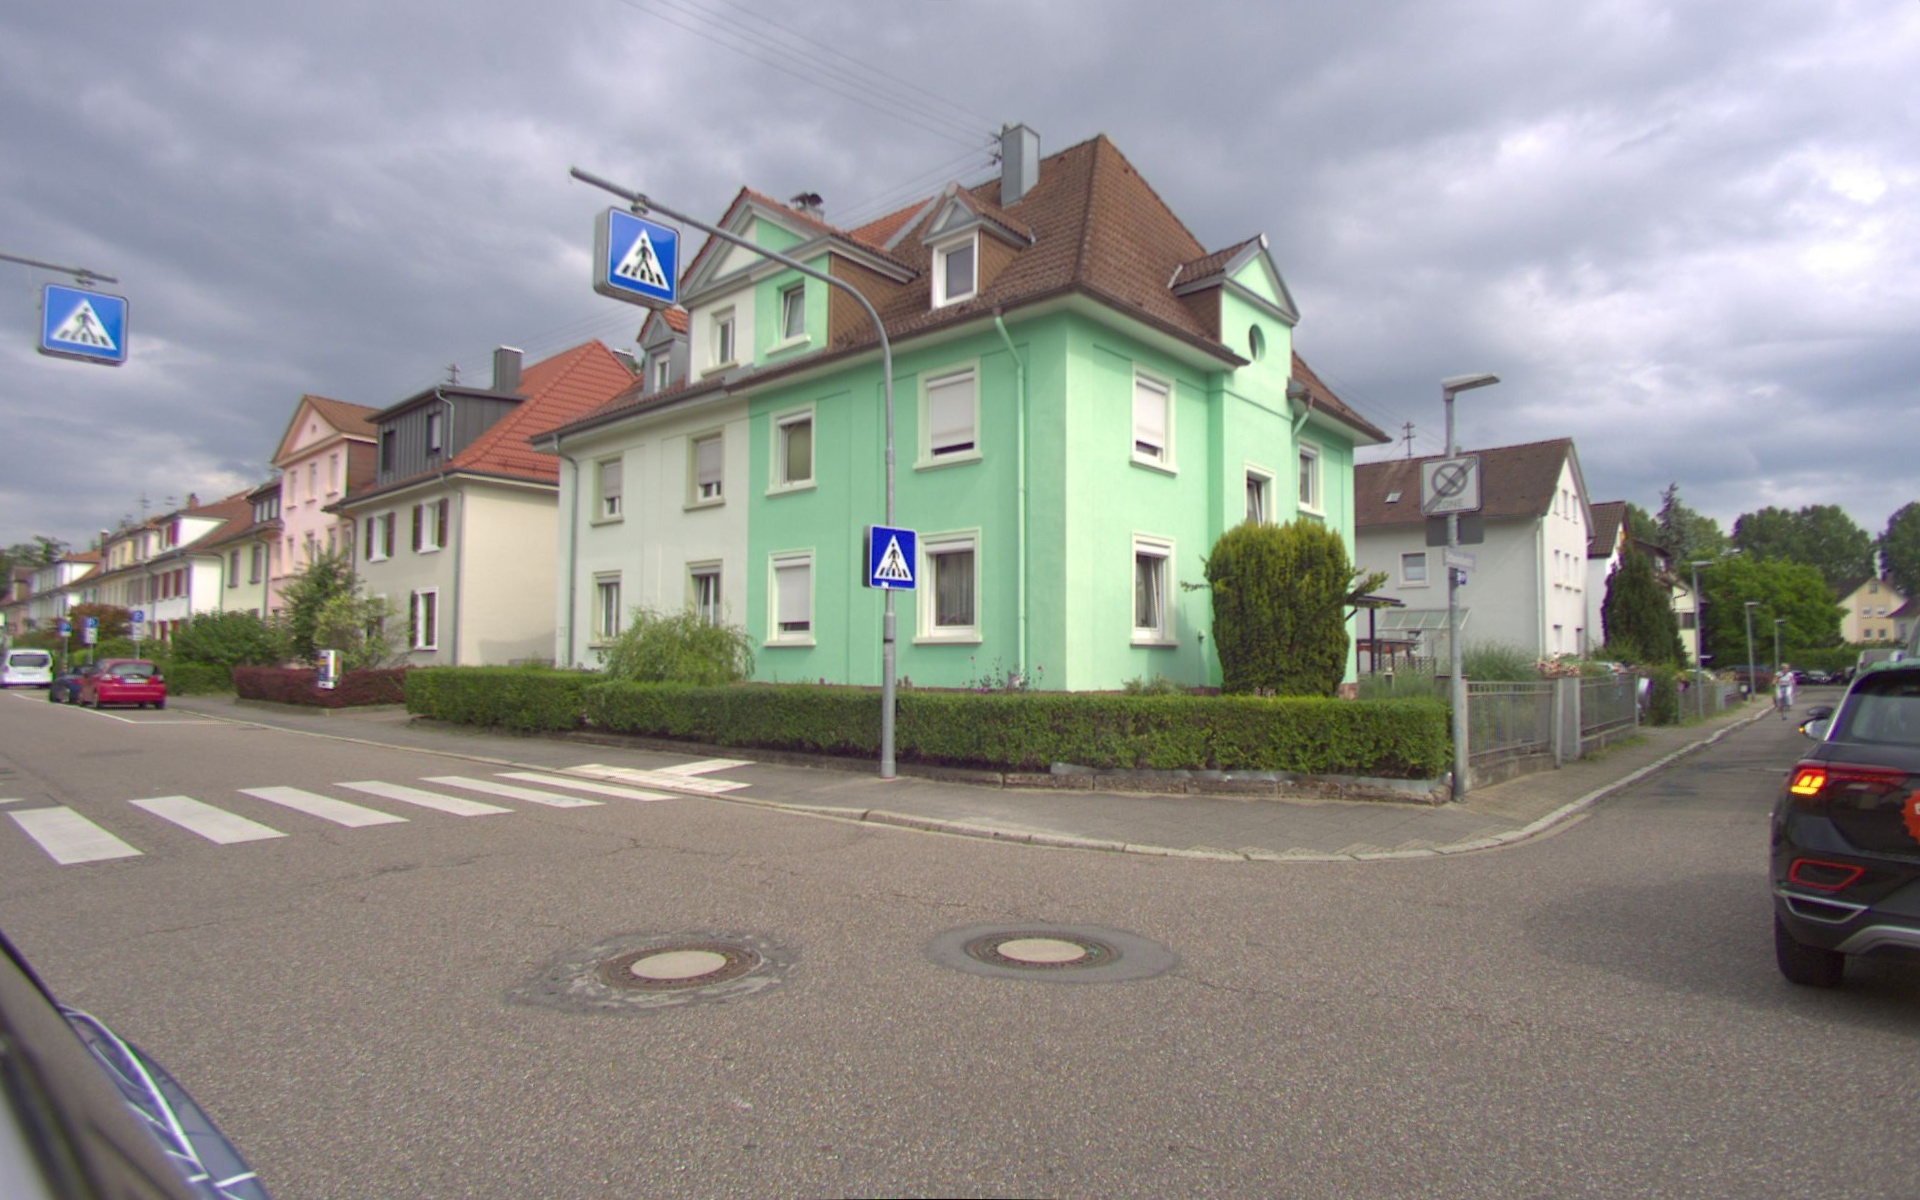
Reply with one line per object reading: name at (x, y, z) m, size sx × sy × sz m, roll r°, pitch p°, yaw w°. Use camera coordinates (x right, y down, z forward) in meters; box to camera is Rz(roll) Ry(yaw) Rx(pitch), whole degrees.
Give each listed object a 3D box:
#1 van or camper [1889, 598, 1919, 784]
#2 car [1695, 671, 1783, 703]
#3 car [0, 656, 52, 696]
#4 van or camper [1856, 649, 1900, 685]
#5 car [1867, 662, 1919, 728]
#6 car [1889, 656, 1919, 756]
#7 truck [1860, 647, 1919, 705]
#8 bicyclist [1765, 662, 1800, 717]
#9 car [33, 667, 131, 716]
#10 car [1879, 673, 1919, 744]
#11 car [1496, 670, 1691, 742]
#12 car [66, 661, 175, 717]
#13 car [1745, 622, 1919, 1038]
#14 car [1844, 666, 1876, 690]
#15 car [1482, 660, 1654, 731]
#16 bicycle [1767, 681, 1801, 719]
van or camper at (15.266, 1.291, 14.784) m, size 2.197 × 2.478 × 4.985 m, roll -3°, pitch -5°, yaw 40°
car at (46.063, 5.147, 59.935) m, size 3.993 × 1.785 × 1.846 m, roll -3°, pitch -6°, yaw 37°
car at (-46.692, 3.741, 50.192) m, size 3.998 × 1.918 × 1.972 m, roll -3°, pitch -5°, yaw 42°
van or camper at (66.612, 4.855, 73.498) m, size 2.147 × 2.561 × 4.945 m, roll -3°, pitch -5°, yaw 41°
car at (27.338, 2.648, 28.777) m, size 1.998 × 1.763 × 4.285 m, roll -3°, pitch -5°, yaw 39°
car at (19.140, 1.952, 19.098) m, size 1.998 × 1.786 × 4.285 m, roll -3°, pitch -5°, yaw 39°
truck at (45.390, 3.671, 49.174) m, size 2.135 × 2.678 × 4.524 m, roll -3°, pitch -5°, yaw 39°
bicyclist at (25.880, 2.817, 31.837) m, size 0.698 × 1.679 × 0.962 m, roll -5°, pitch -7°, yaw 41°
car at (-29.945, 3.066, 34.490) m, size 3.998 × 1.586 × 1.972 m, roll -3°, pitch -5°, yaw 42°
car at (22.362, 2.414, 22.889) m, size 1.998 × 1.467 × 4.285 m, roll -3°, pitch -5°, yaw 39°
car at (14.359, 2.353, 23.013) m, size 3.577 × 1.512 × 1.567 m, roll -3°, pitch -5°, yaw 38°
car at (-25.905, 2.694, 31.190) m, size 3.998 × 1.586 × 1.972 m, roll -3°, pitch -5°, yaw 42°
car at (5.270, 0.959, 4.841) m, size 3.982 × 1.531 × 1.823 m, roll 5°, pitch -5°, yaw -44°
car at (80.064, 6.931, 89.981) m, size 1.865 × 2.029 × 3.942 m, roll -4°, pitch -7°, yaw 44°
car at (15.479, 2.392, 25.847) m, size 3.577 × 1.680 × 1.567 m, roll -3°, pitch -5°, yaw 38°
bicycle at (25.860, 3.120, 31.765) m, size 0.707 × 1.161 × 1.847 m, roll -4°, pitch -6°, yaw 41°
